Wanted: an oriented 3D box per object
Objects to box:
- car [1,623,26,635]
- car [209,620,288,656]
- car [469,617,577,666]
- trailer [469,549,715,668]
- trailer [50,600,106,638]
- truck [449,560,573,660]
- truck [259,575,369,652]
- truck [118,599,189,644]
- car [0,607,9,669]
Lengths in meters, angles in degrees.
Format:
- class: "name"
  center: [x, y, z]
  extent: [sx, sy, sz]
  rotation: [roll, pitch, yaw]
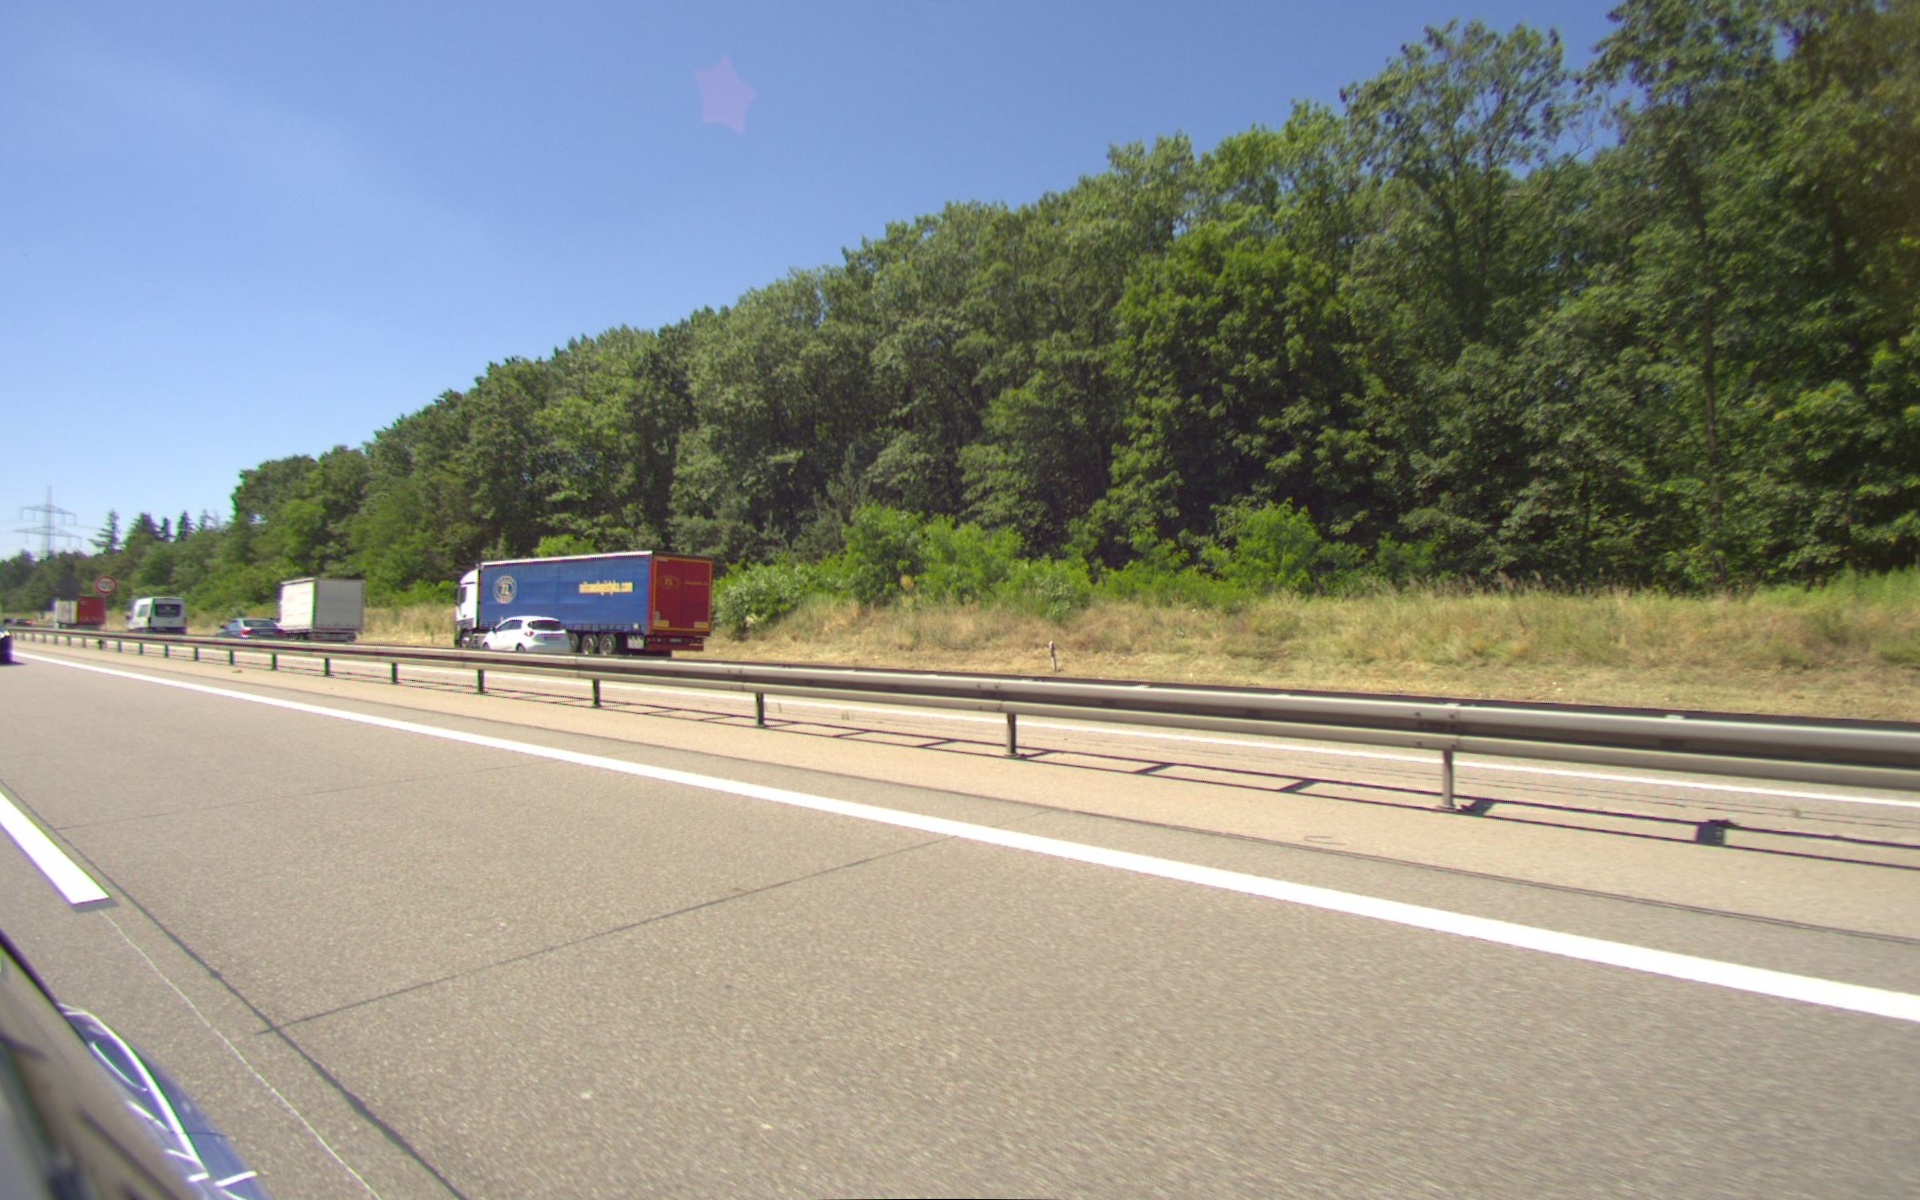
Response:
- class: "car"
  center: [-124.702, 3.804, 133.328]
  extent: [4.580, 1.445, 1.869]
  rotation: [-1, -4, 41]
- class: "car"
  center: [-30.098, 1.603, 42.769]
  extent: [4.541, 1.410, 1.588]
  rotation: [-1, -4, 40]
- class: "car"
  center: [-15.172, 1.427, 35.037]
  extent: [4.467, 1.571, 1.587]
  rotation: [-1, -4, 41]
- class: "trailer"
  center: [-15.066, 0.425, 40.215]
  extent: [14.361, 4.045, 2.479]
  rotation: [-1, -4, 42]
- class: "trailer"
  center: [-104.155, 2.272, 119.390]
  extent: [14.539, 4.151, 2.783]
  rotation: [-1, -4, 41]
- class: "truck"
  center: [-19.724, 0.496, 44.327]
  extent: [6.122, 4.045, 2.479]
  rotation: [-1, -4, 41]
- class: "truck"
  center: [-33.143, 0.726, 51.748]
  extent: [8.116, 3.634, 2.431]
  rotation: [-1, -4, 41]
- class: "truck"
  center: [-50.840, 1.386, 63.719]
  extent: [8.028, 2.643, 2.061]
  rotation: [-1, -4, 42]
- class: "car"
  center: [-29.790, 1.122, 29.855]
  extent: [5.809, 1.765, 1.920]
  rotation: [-1, -1, 41]
